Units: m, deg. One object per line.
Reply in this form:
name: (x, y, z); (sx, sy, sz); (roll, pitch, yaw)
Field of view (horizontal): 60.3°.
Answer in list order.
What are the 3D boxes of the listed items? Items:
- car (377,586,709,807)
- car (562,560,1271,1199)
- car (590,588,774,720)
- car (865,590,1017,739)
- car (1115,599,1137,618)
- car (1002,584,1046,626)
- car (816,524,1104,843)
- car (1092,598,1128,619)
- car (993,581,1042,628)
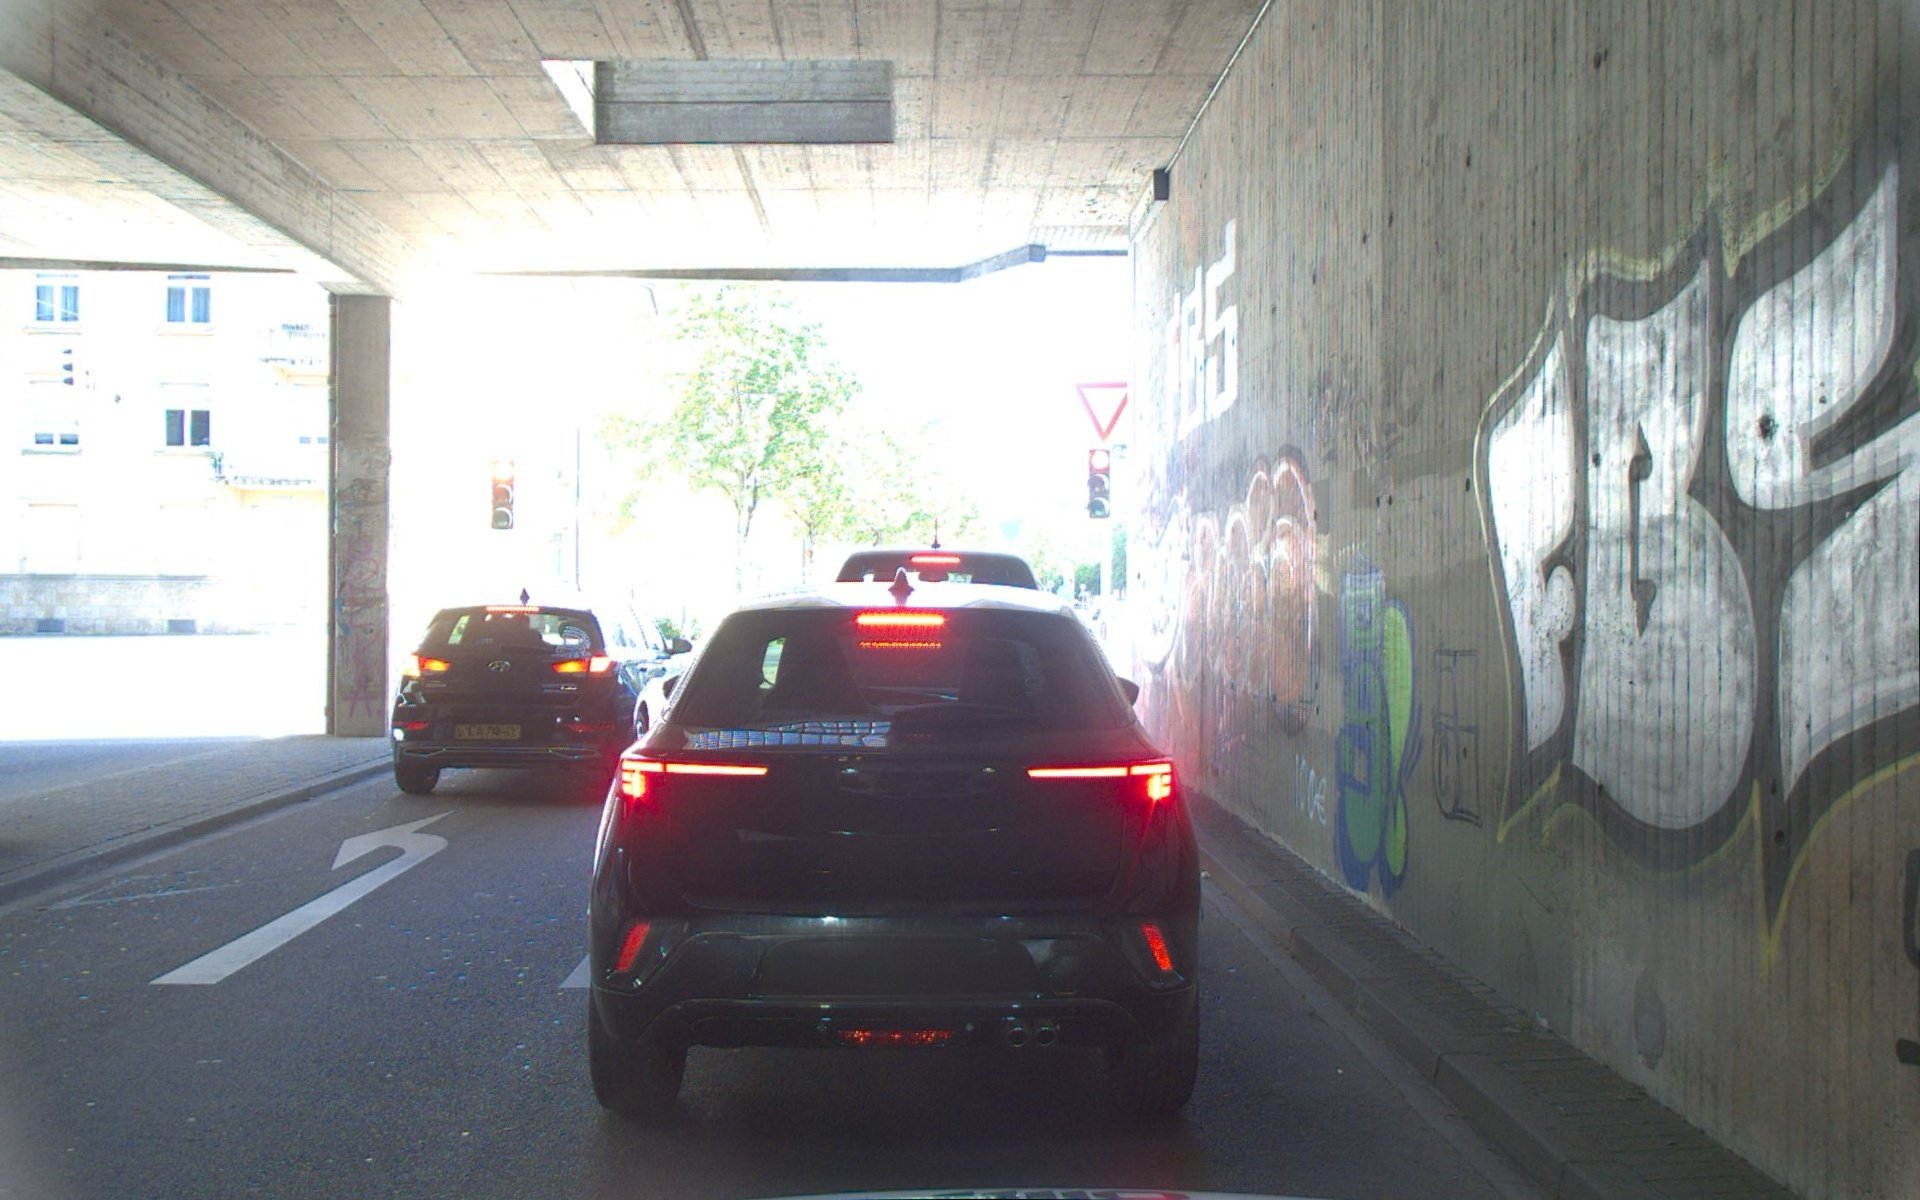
car: (-3.142, 0.655, 13.231); (1.726, 1.506, 3.843); (0, 0, -1)
car: (-0.131, 0.680, 6.088); (1.726, 1.558, 4.088); (0, 0, -1)
car: (-3.412, 0.616, 20.952); (1.726, 1.506, 3.843); (0, 0, -1)
car: (-0.231, 0.665, 19.247); (1.576, 1.539, 4.053); (0, 0, -1)
car: (15.189, 0.768, 151.046); (1.716, 1.696, 3.948); (1, 0, 10)
car: (2.676, 0.210, 68.354); (1.717, 1.696, 3.946); (1, 0, 3)
car: (-0.025, 0.498, 12.033); (1.726, 1.915, 4.145); (0, 0, -1)
car: (12.673, 0.723, 139.788); (1.780, 1.696, 4.816); (1, 0, 21)
car: (2.187, 0.176, 62.228); (1.717, 1.696, 3.946); (1, 0, 3)
